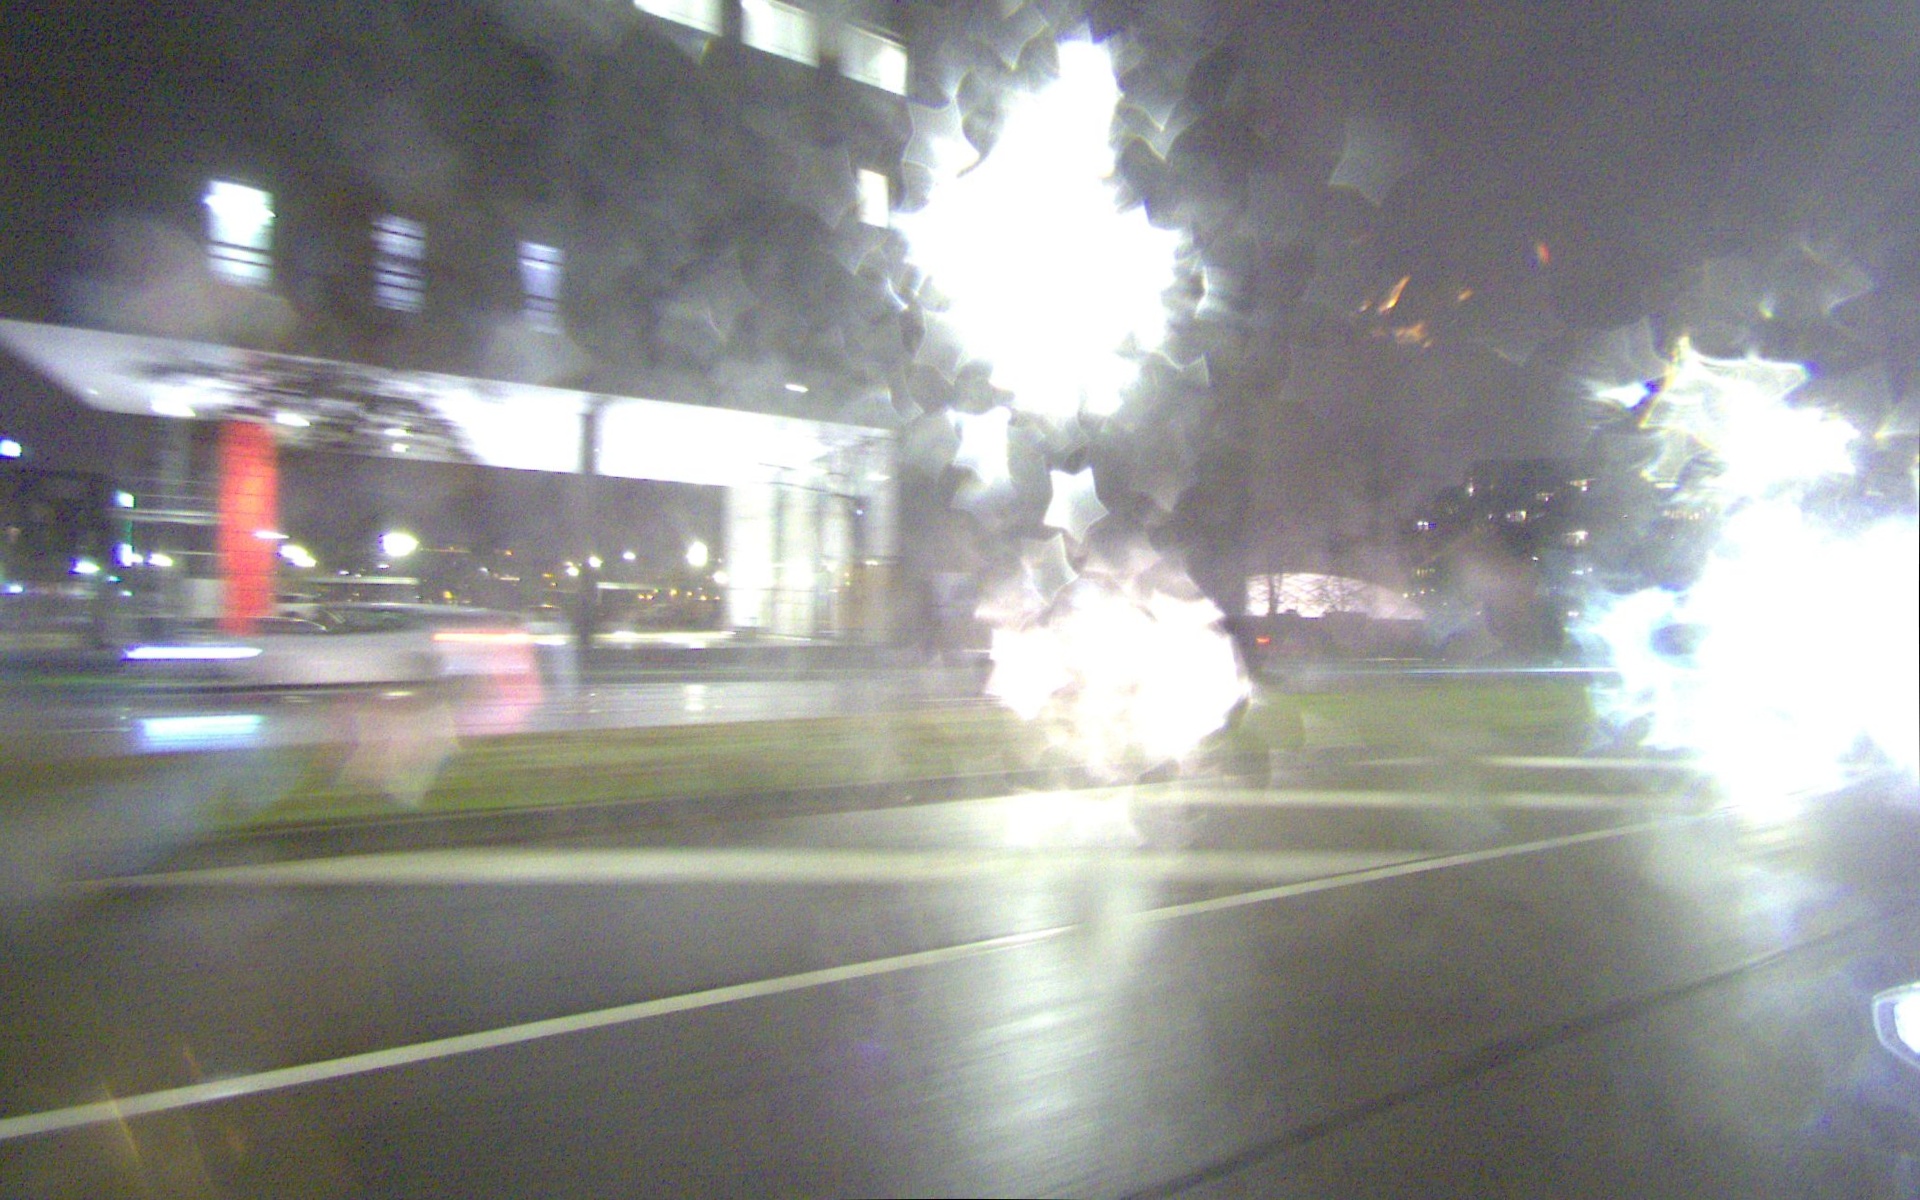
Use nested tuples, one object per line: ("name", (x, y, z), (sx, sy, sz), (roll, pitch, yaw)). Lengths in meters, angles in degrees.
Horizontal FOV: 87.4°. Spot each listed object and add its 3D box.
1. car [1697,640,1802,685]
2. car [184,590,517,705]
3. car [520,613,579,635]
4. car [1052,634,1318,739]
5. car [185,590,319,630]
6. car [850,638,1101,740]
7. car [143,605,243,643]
("car", (33.333, 2.600, 42.365), (4.496, 1.706, 2.014), (2, 1, -31))
("car", (-9.543, 0.719, 16.097), (4.313, 1.614, 1.834), (2, 1, -30))
("car", (-31.362, 1.833, 76.773), (3.956, 1.595, 1.893), (2, 1, -32))
("car", (3.872, 1.393, 17.129), (4.313, 1.506, 1.834), (2, 1, -30))
("car", (-35.841, 0.508, 51.044), (5.366, 1.840, 1.983), (2, 1, -31))
("car", (0.312, 1.574, 18.651), (4.313, 1.614, 1.834), (2, 1, -30))
("car", (-40.476, 1.283, 53.139), (3.955, 1.840, 1.983), (2, 1, -31))
